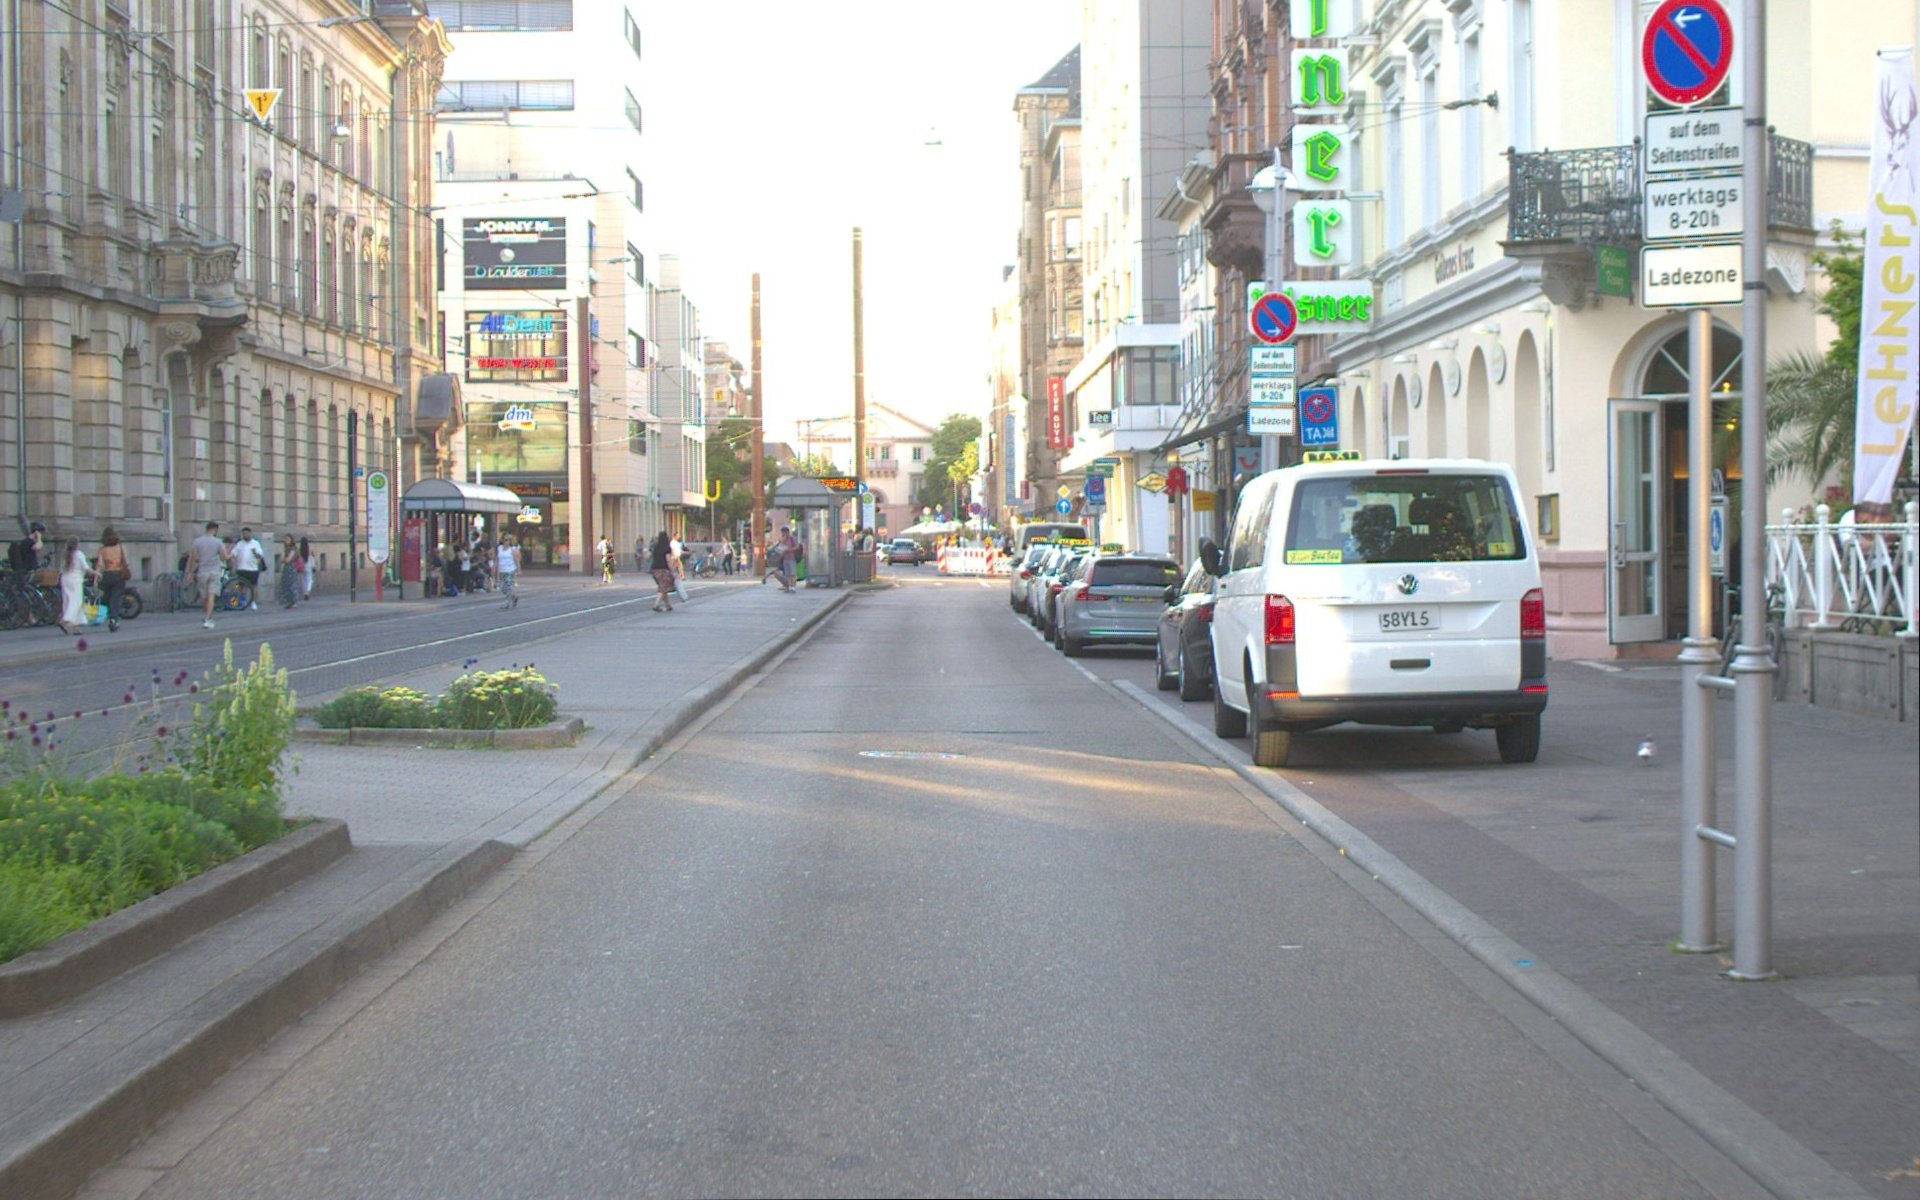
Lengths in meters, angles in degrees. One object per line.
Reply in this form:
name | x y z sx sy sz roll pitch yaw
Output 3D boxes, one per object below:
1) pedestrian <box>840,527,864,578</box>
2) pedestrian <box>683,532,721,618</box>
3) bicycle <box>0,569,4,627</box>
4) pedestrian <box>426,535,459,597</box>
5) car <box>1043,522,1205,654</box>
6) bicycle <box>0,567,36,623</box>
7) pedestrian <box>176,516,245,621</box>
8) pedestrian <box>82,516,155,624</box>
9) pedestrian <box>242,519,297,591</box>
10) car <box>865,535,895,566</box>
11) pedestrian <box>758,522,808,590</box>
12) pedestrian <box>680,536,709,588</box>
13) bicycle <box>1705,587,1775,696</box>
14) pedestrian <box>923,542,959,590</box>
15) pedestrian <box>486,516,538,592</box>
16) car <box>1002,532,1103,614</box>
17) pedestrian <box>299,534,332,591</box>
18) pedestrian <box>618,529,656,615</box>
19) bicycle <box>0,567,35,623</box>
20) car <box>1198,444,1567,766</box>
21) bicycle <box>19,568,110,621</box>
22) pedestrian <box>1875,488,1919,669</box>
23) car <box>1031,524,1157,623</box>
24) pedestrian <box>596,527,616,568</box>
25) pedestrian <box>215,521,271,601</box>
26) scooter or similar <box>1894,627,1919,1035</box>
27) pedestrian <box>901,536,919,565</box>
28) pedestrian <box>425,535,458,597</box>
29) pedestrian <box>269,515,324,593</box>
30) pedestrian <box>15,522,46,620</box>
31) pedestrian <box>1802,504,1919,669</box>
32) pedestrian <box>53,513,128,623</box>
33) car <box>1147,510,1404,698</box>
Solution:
pedestrian | -3.242 -1.423 103.271 0.612 1.518 0.621 -1 -1 -9
pedestrian | -4.925 -0.485 65.496 0.671 1.630 0.763 0 1 -8
bicycle | -16.542 -0.030 56.462 1.582 0.946 0.359 0 -1 -12
pedestrian | -13.148 -0.867 87.375 0.773 1.575 0.679 -1 1 -12
car | 2.258 -0.183 48.333 1.993 1.755 4.421 -1 1 -1
bicycle | -16.461 -0.076 58.123 1.582 0.946 0.359 0 -1 -12
pedestrian | -12.158 -0.502 55.799 1.048 1.680 0.908 -1 -1 -10
pedestrian | -13.409 -0.472 54.810 1.048 1.680 0.908 -1 -1 -10
pedestrian | -16.163 -1.057 80.507 1.049 1.680 0.791 -1 1 6
car | -4.950 -3.082 213.043 1.760 1.821 3.570 -1 -1 -1
pedestrian | -4.482 -1.109 87.032 1.049 1.680 0.908 -1 -1 11
pedestrian | -10.010 -1.431 129.703 0.905 1.922 0.851 -1 1 -16
bicycle | 6.577 0.347 29.010 0.250 0.899 1.374 -1 -1 -1
pedestrian | -0.776 -1.357 138.376 1.229 1.922 1.022 0 1 -16
pedestrian | -9.904 -1.024 76.035 1.049 1.680 0.908 0 1 -1
car | 1.966 -0.551 74.324 1.993 1.661 4.421 -1 -1 -1
pedestrian | -16.215 -0.949 86.467 0.629 1.424 0.710 0 1 6
pedestrian | -6.136 -0.537 65.356 0.689 1.630 0.581 0 1 -8
bicycle | -16.349 -0.077 57.663 1.582 0.946 0.359 0 -1 -12
car | 2.777 0.004 23.533 1.915 1.975 4.421 -1 1 -1
bicycle | -16.265 -0.092 62.441 1.582 0.946 0.359 0 -1 -12
pedestrian | 7.310 -0.155 25.233 0.902 1.301 0.967 -1 -1 -1
car | 2.345 -0.438 61.175 1.993 1.661 4.421 -1 -1 -1
pedestrian | -16.572 -2.451 160.998 0.848 1.922 0.908 -1 1 0
pedestrian | -15.124 -0.824 72.527 1.048 1.680 0.908 0 1 -19
scooter or similar | 3.411 0.675 10.275 1.125 1.211 0.300 -2 1 1
pedestrian | -3.072 -3.029 211.529 0.782 1.728 0.811 -1 -1 40
pedestrian | -13.293 -0.879 88.088 0.777 1.575 0.679 -1 1 -12
pedestrian | -14.382 -1.003 74.488 1.048 1.680 0.908 -1 1 -19
pedestrian | -15.914 -0.498 58.856 0.516 1.667 0.482 0 1 -16
pedestrian | 7.324 -0.105 27.723 0.822 1.301 0.870 -1 -1 -1
pedestrian | -13.432 -0.486 53.139 1.048 1.680 0.908 -1 -1 -10
car | 2.941 0.025 32.937 1.993 1.661 4.421 -1 0 -1
